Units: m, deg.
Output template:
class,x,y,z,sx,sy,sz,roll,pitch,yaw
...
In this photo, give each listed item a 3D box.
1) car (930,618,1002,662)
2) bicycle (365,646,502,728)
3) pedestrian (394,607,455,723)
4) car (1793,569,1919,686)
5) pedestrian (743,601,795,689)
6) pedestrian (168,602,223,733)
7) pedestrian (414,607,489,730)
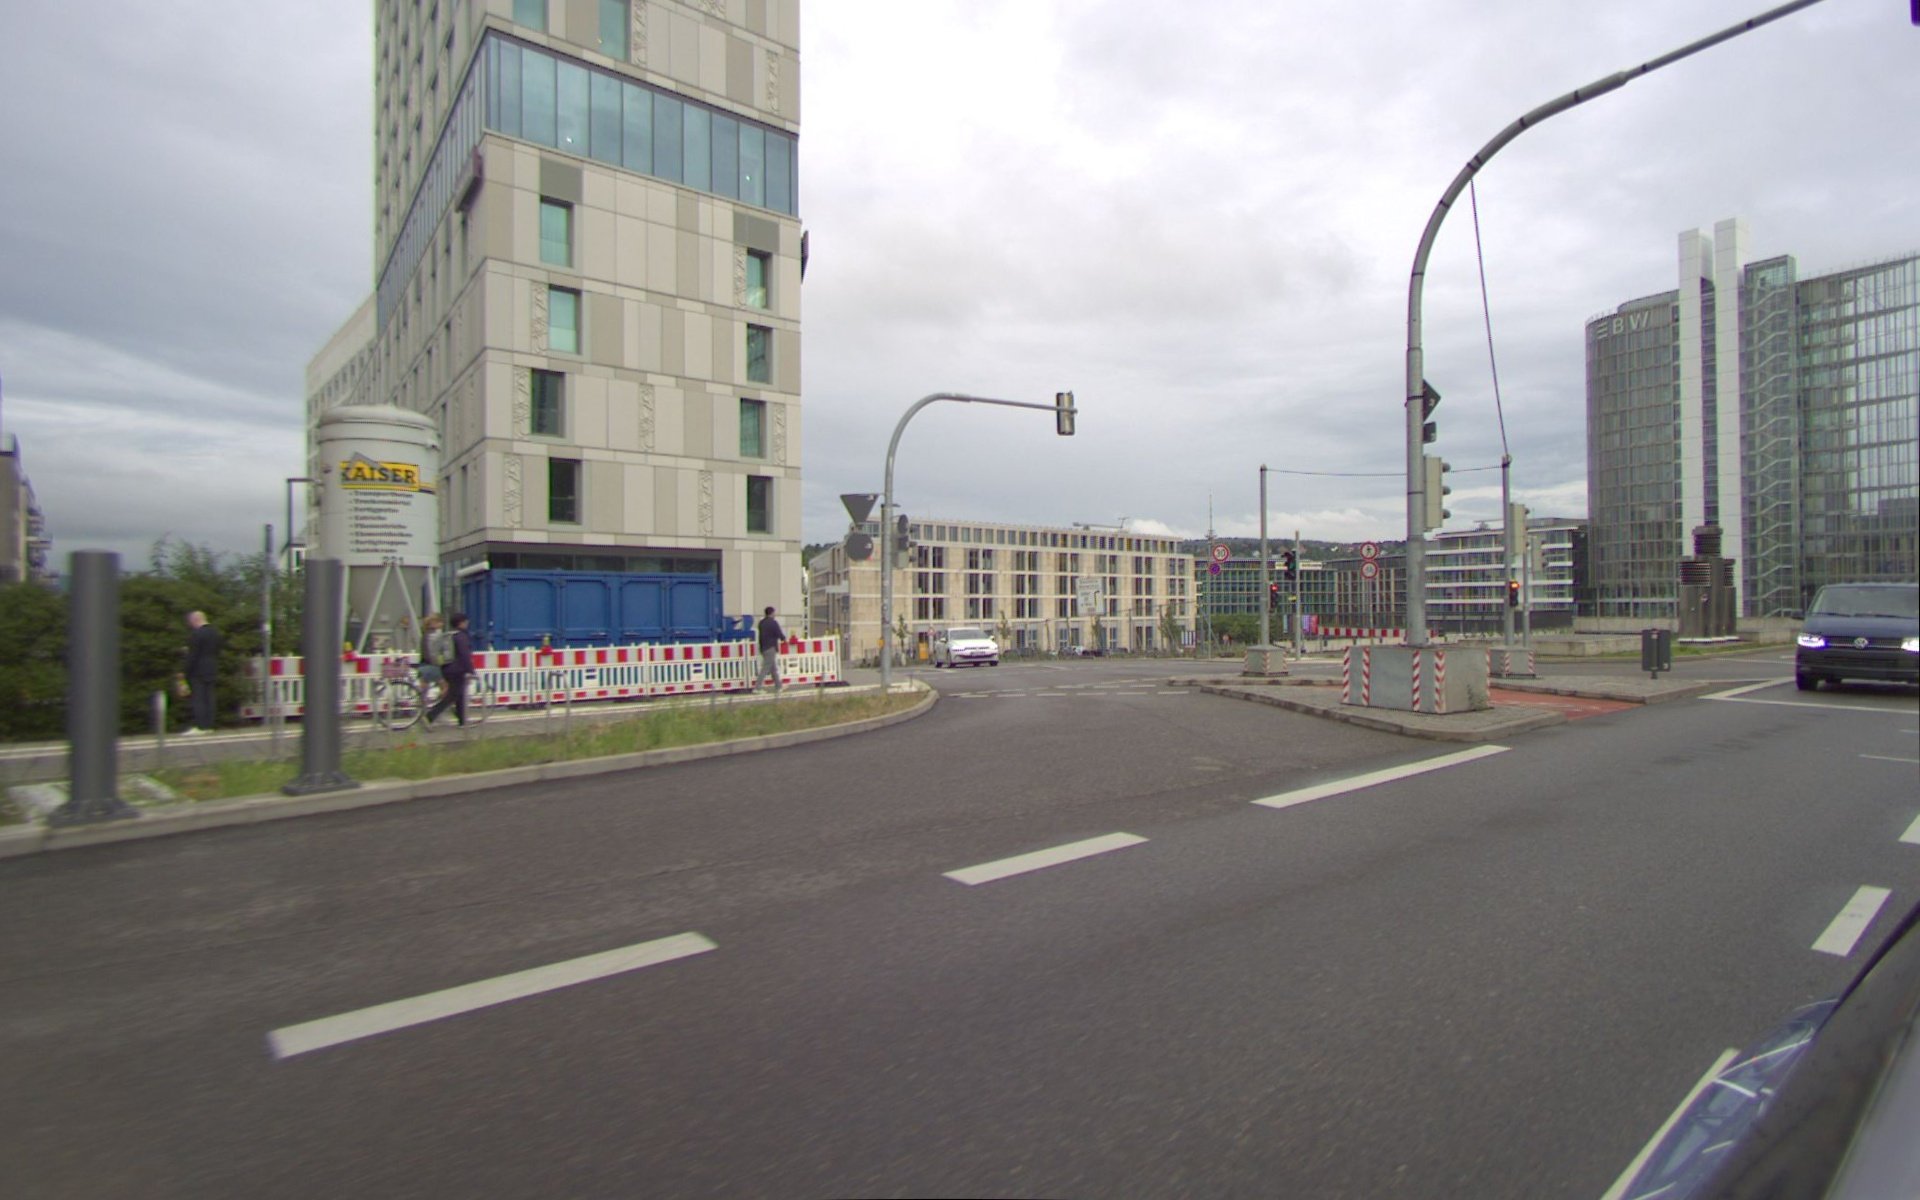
class,x,y,z,sx,sy,sz,roll,pitch,yaw
car,0.149,1.411,36.403,1.707,1.452,4.006,0,-2,-12
bicycle,-7.580,1.227,14.640,0.449,1.028,1.715,0,1,43
pedestrian,-7.883,0.931,14.899,0.686,1.631,0.551,0,0,-41
car,17.177,0.478,18.623,4.952,1.906,2.037,1,0,-40
pedestrian,-3.783,0.873,20.081,0.809,1.693,0.622,-1,0,-41
pedestrian,-10.884,0.934,14.406,0.585,1.802,0.440,0,0,-41
pedestrian,-7.111,0.928,14.147,0.804,1.631,0.614,-1,0,-41
